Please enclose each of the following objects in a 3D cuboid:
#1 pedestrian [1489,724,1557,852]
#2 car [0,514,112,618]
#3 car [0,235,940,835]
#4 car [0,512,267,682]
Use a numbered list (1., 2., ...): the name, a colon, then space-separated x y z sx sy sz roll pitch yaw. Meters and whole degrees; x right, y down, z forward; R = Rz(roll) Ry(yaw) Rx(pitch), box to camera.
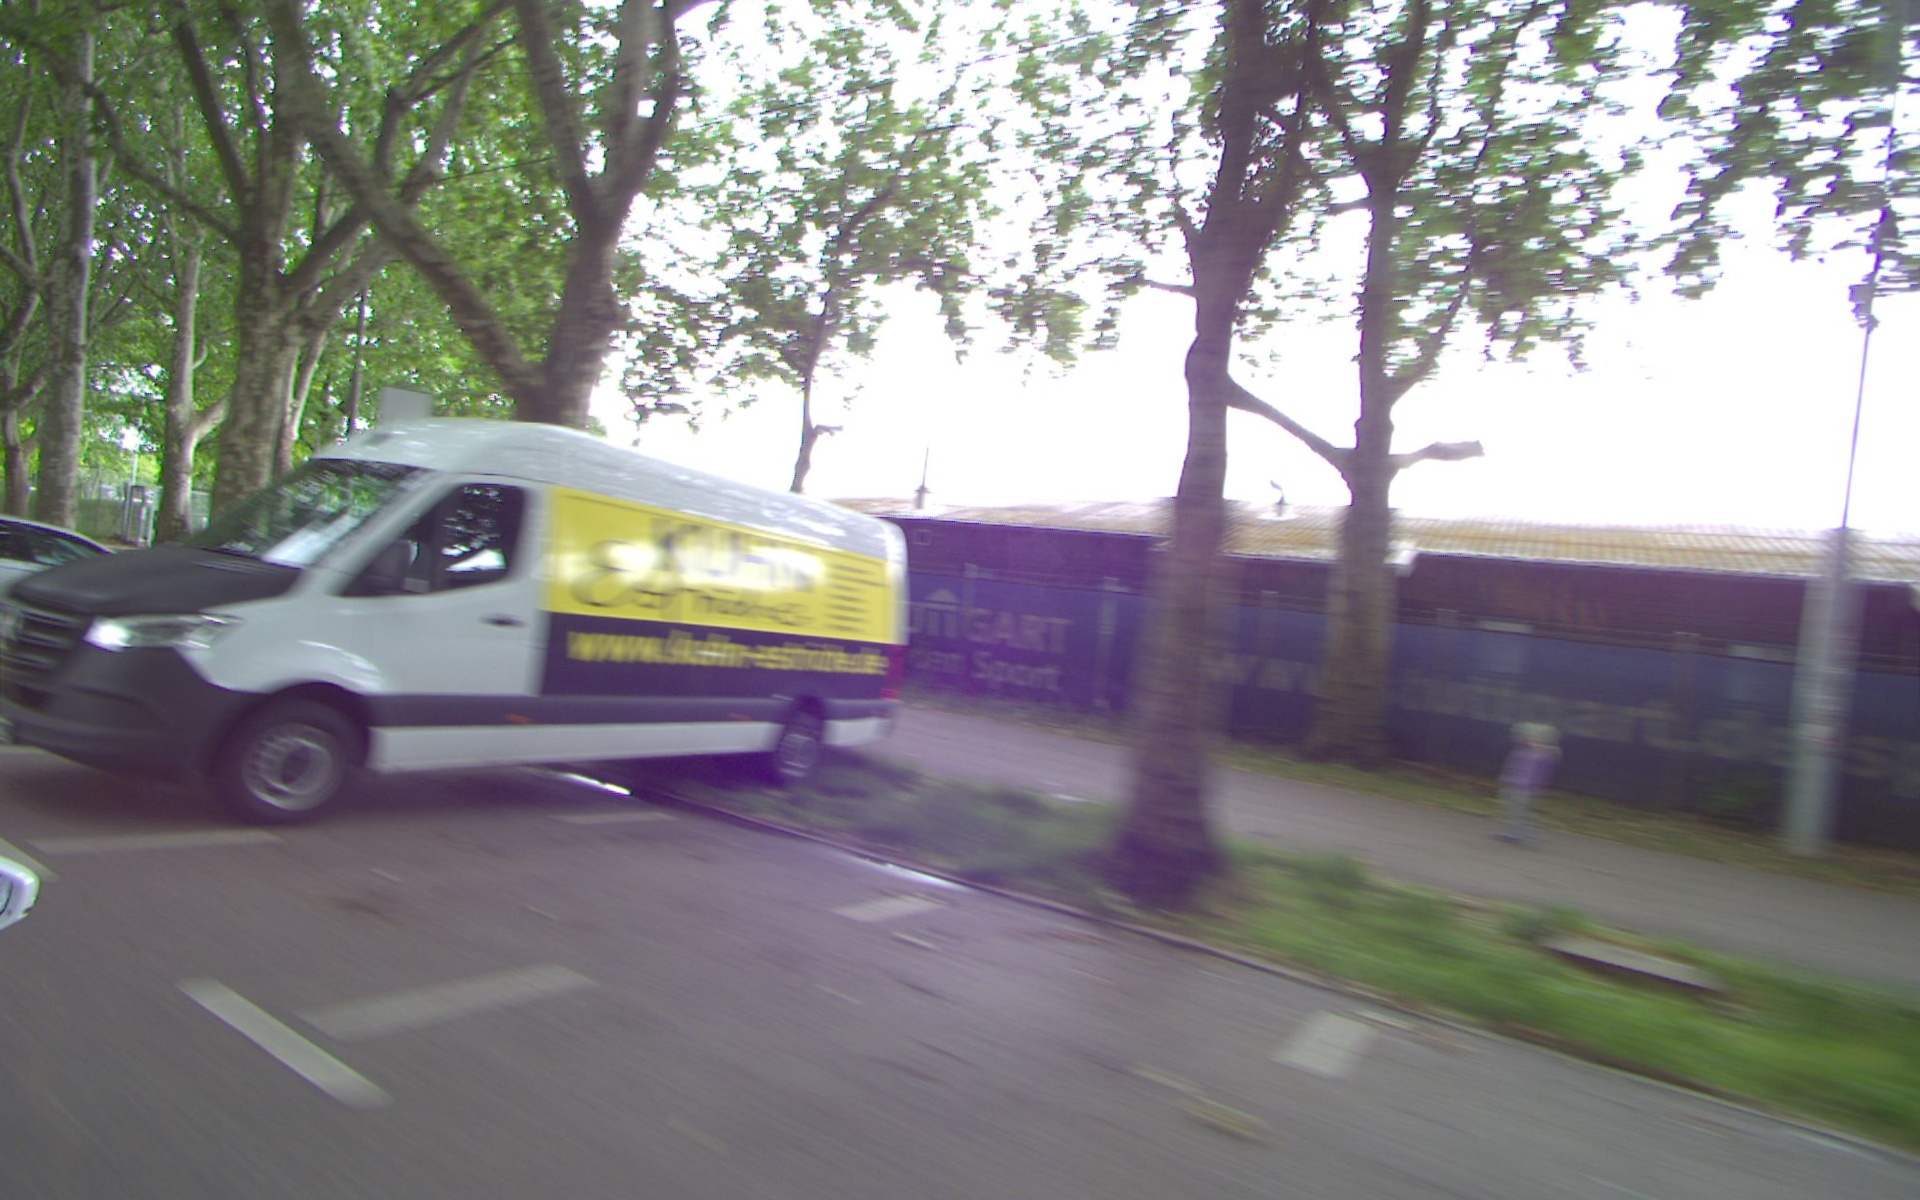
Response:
1. pedestrian: 5.321 1.761 9.506 0.412 1.098 0.395 7 2 35
2. car: -14.446 -0.686 13.477 1.672 1.317 4.328 7 -2 32
3. car: -3.061 -0.048 8.012 2.093 2.726 6.893 7 -2 32
4. car: -10.132 -0.196 10.488 1.587 1.459 4.372 7 -6 35
